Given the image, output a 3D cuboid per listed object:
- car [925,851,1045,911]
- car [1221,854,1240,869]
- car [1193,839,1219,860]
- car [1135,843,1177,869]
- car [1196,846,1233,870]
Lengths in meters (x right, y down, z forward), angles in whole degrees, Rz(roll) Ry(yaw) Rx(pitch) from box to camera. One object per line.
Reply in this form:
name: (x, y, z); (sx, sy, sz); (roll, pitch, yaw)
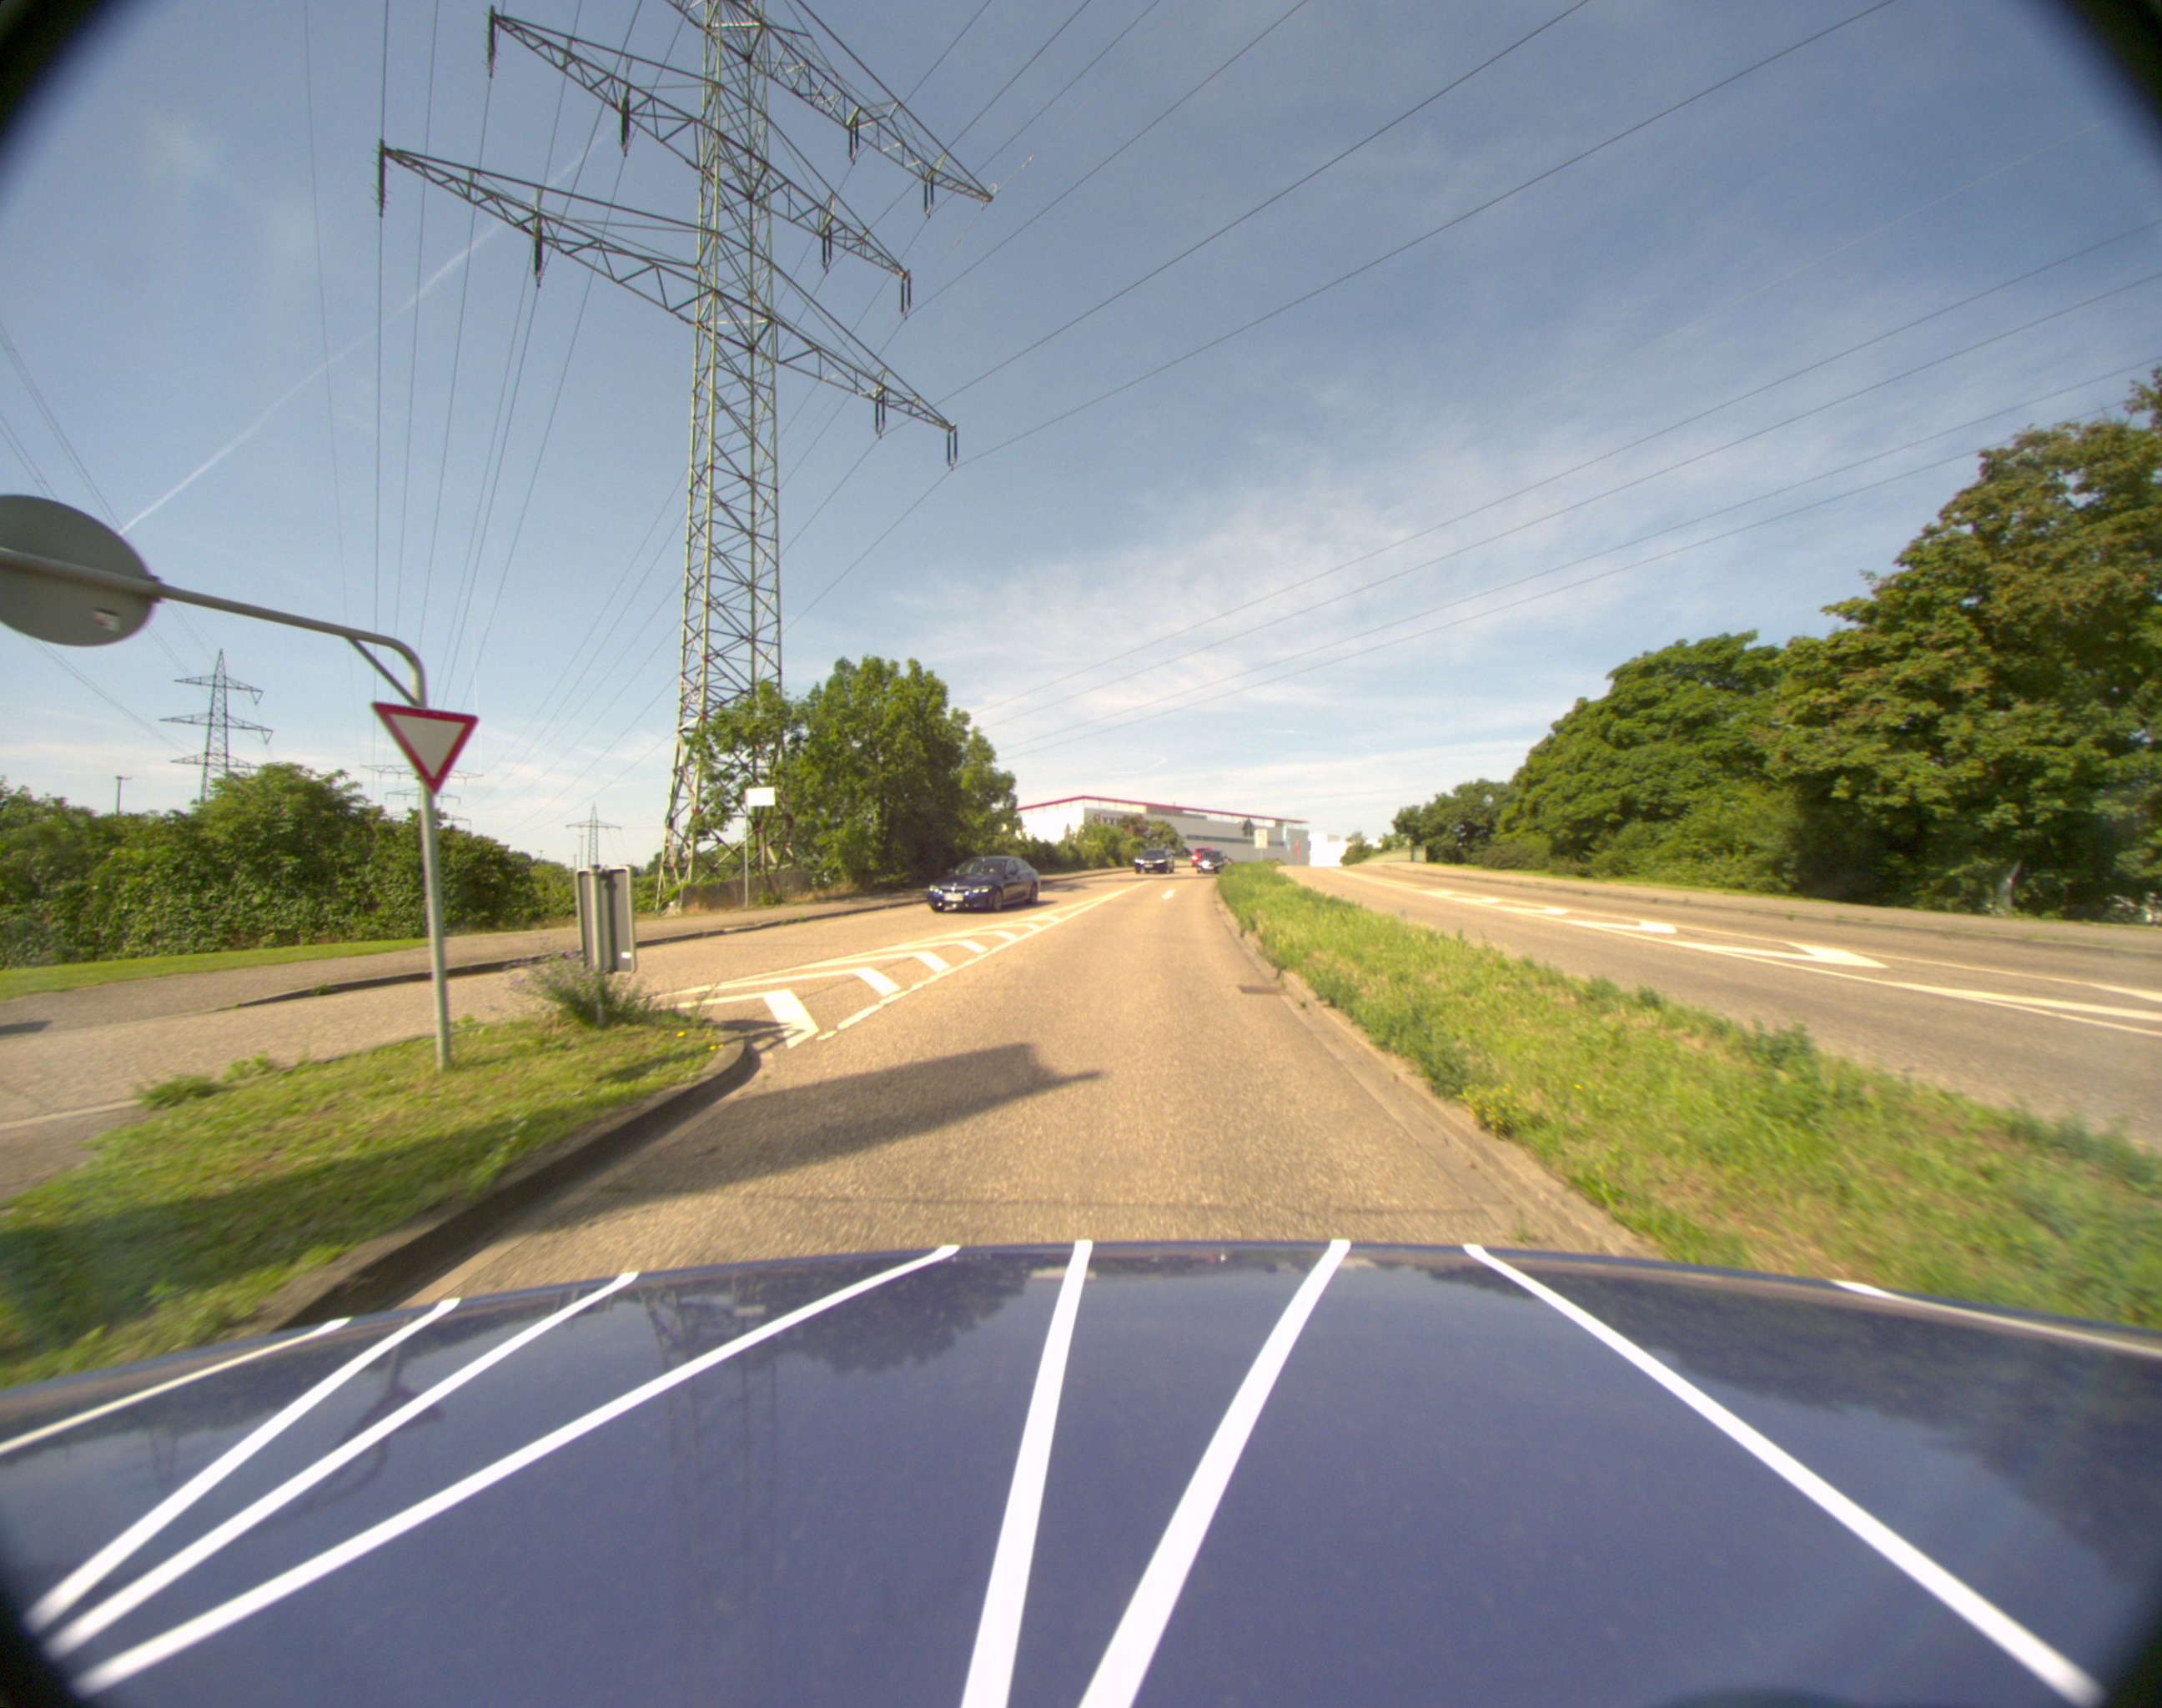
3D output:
car: (-2.529, 0.809, 21.234); (1.790, 1.474, 4.527); (-1, -3, 14)
car: (17.644, 0.865, 89.676); (1.775, 1.648, 4.150); (1, -1, 16)
car: (11.925, -0.441, 72.411); (1.986, 1.896, 4.148); (-1, 1, 15)
car: (4.683, 0.105, 46.976); (1.859, 1.520, 4.148); (-2, 0, 15)
car: (8.469, 0.251, 47.955); (1.847, 1.410, 4.005); (-1, 0, 17)
